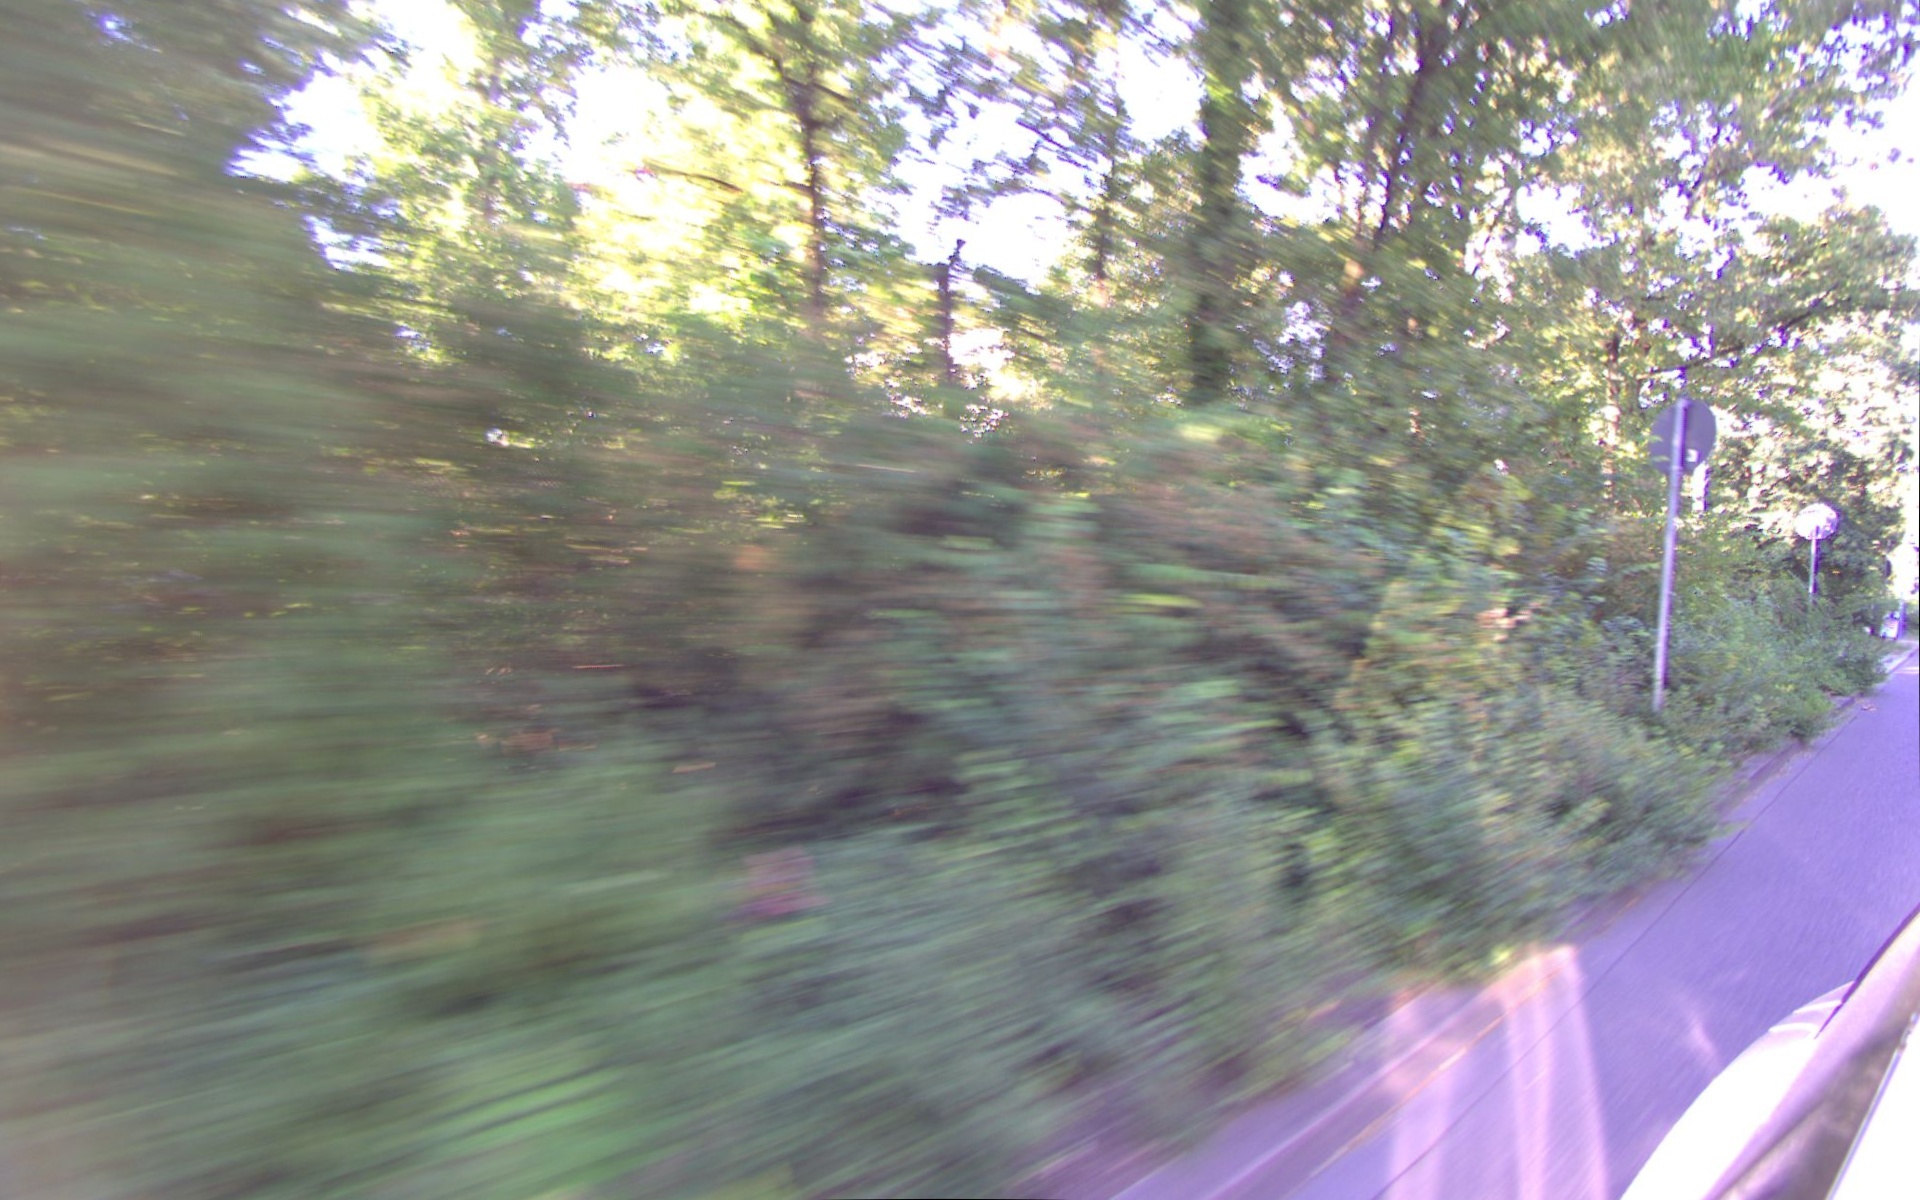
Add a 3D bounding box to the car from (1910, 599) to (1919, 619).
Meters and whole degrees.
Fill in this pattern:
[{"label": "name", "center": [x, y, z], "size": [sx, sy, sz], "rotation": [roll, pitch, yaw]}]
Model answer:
[{"label": "car", "center": [83.058, 0.773, 85.590], "size": [1.967, 1.660, 3.991], "rotation": [0, 0, 8]}]
